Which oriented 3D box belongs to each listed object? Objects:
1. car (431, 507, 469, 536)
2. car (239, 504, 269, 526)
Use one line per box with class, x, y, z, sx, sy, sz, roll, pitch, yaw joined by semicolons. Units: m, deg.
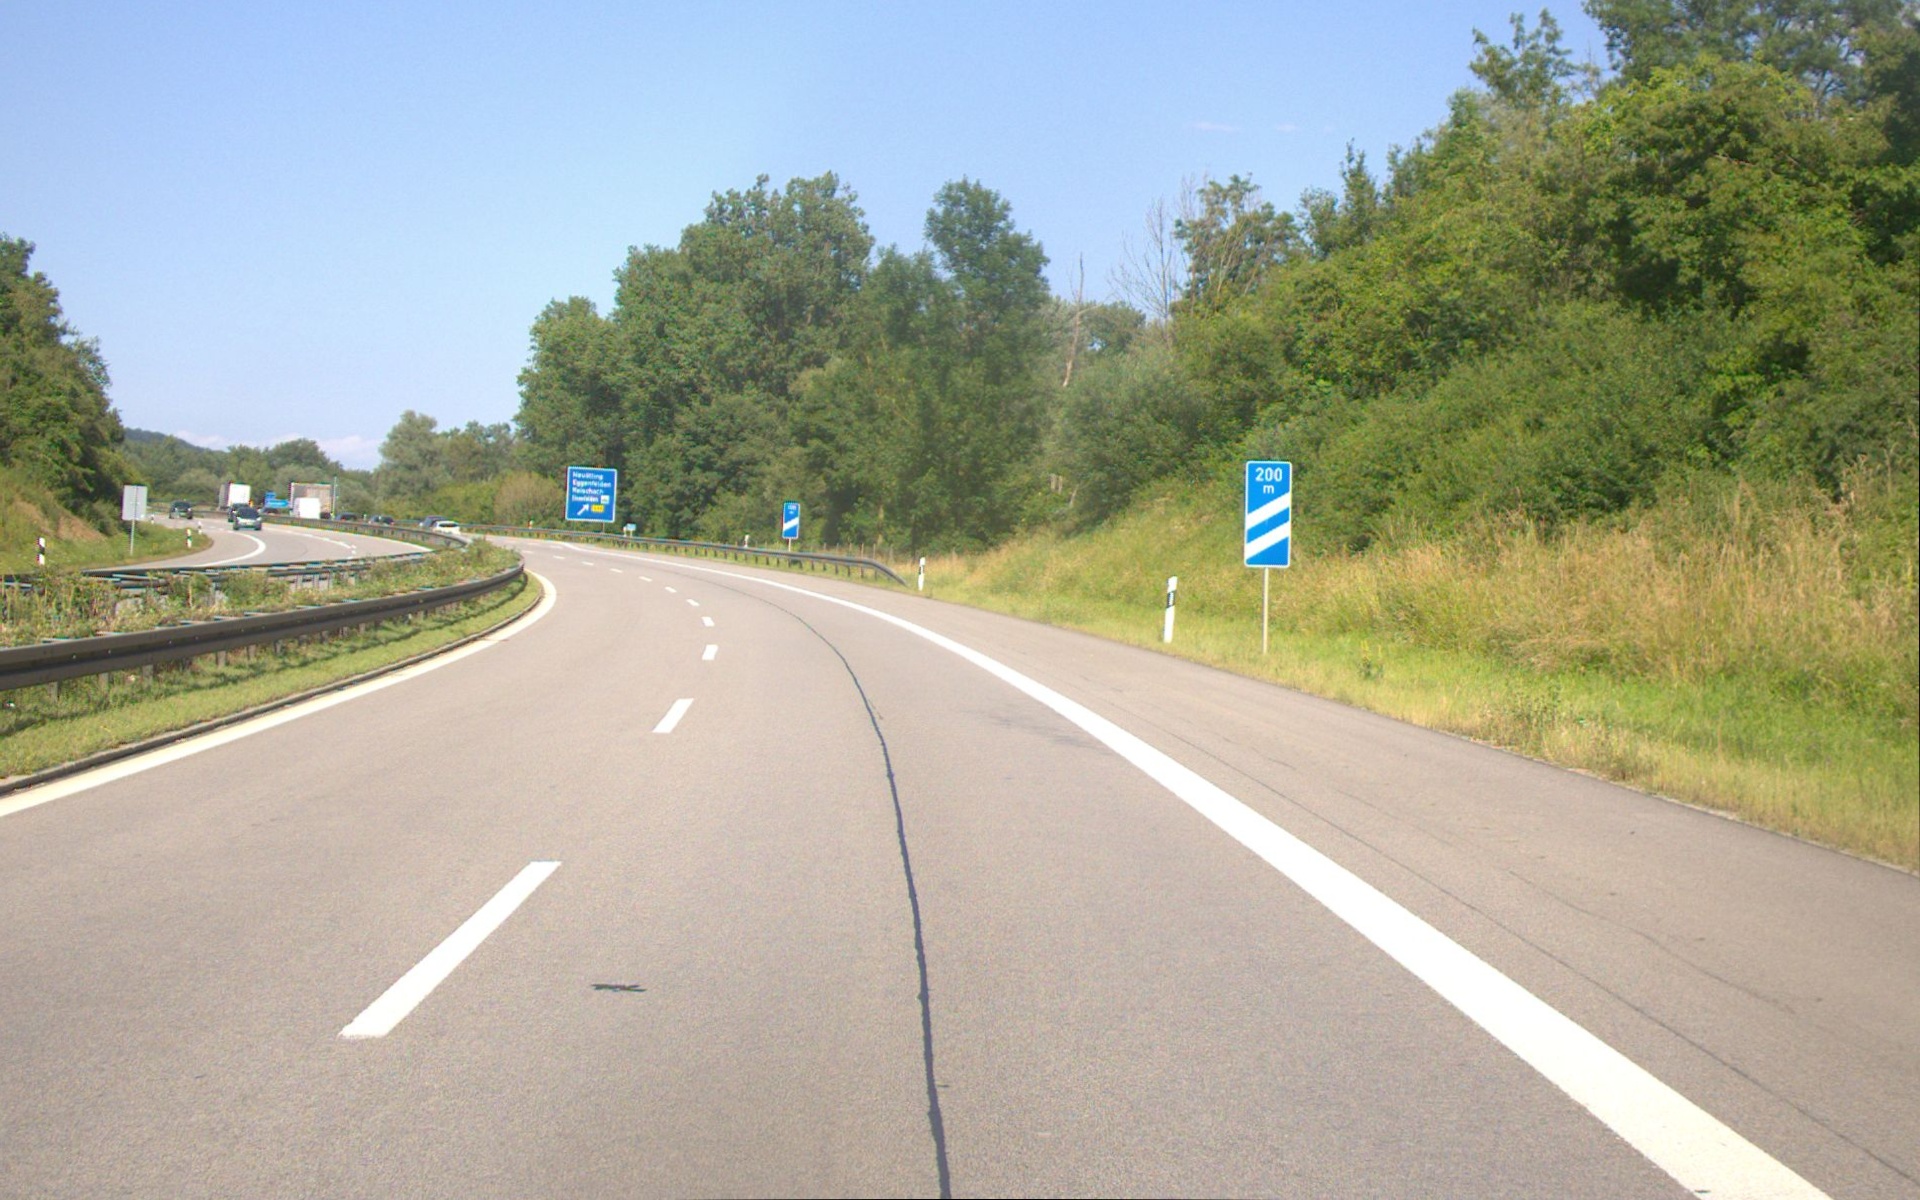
car;-32.184;-4.959;216.877;2.061;1.619;4.001;2;-1;-13
car;-49.067;-5.900;238.915;1.819;1.475;4.687;1;1;-9
